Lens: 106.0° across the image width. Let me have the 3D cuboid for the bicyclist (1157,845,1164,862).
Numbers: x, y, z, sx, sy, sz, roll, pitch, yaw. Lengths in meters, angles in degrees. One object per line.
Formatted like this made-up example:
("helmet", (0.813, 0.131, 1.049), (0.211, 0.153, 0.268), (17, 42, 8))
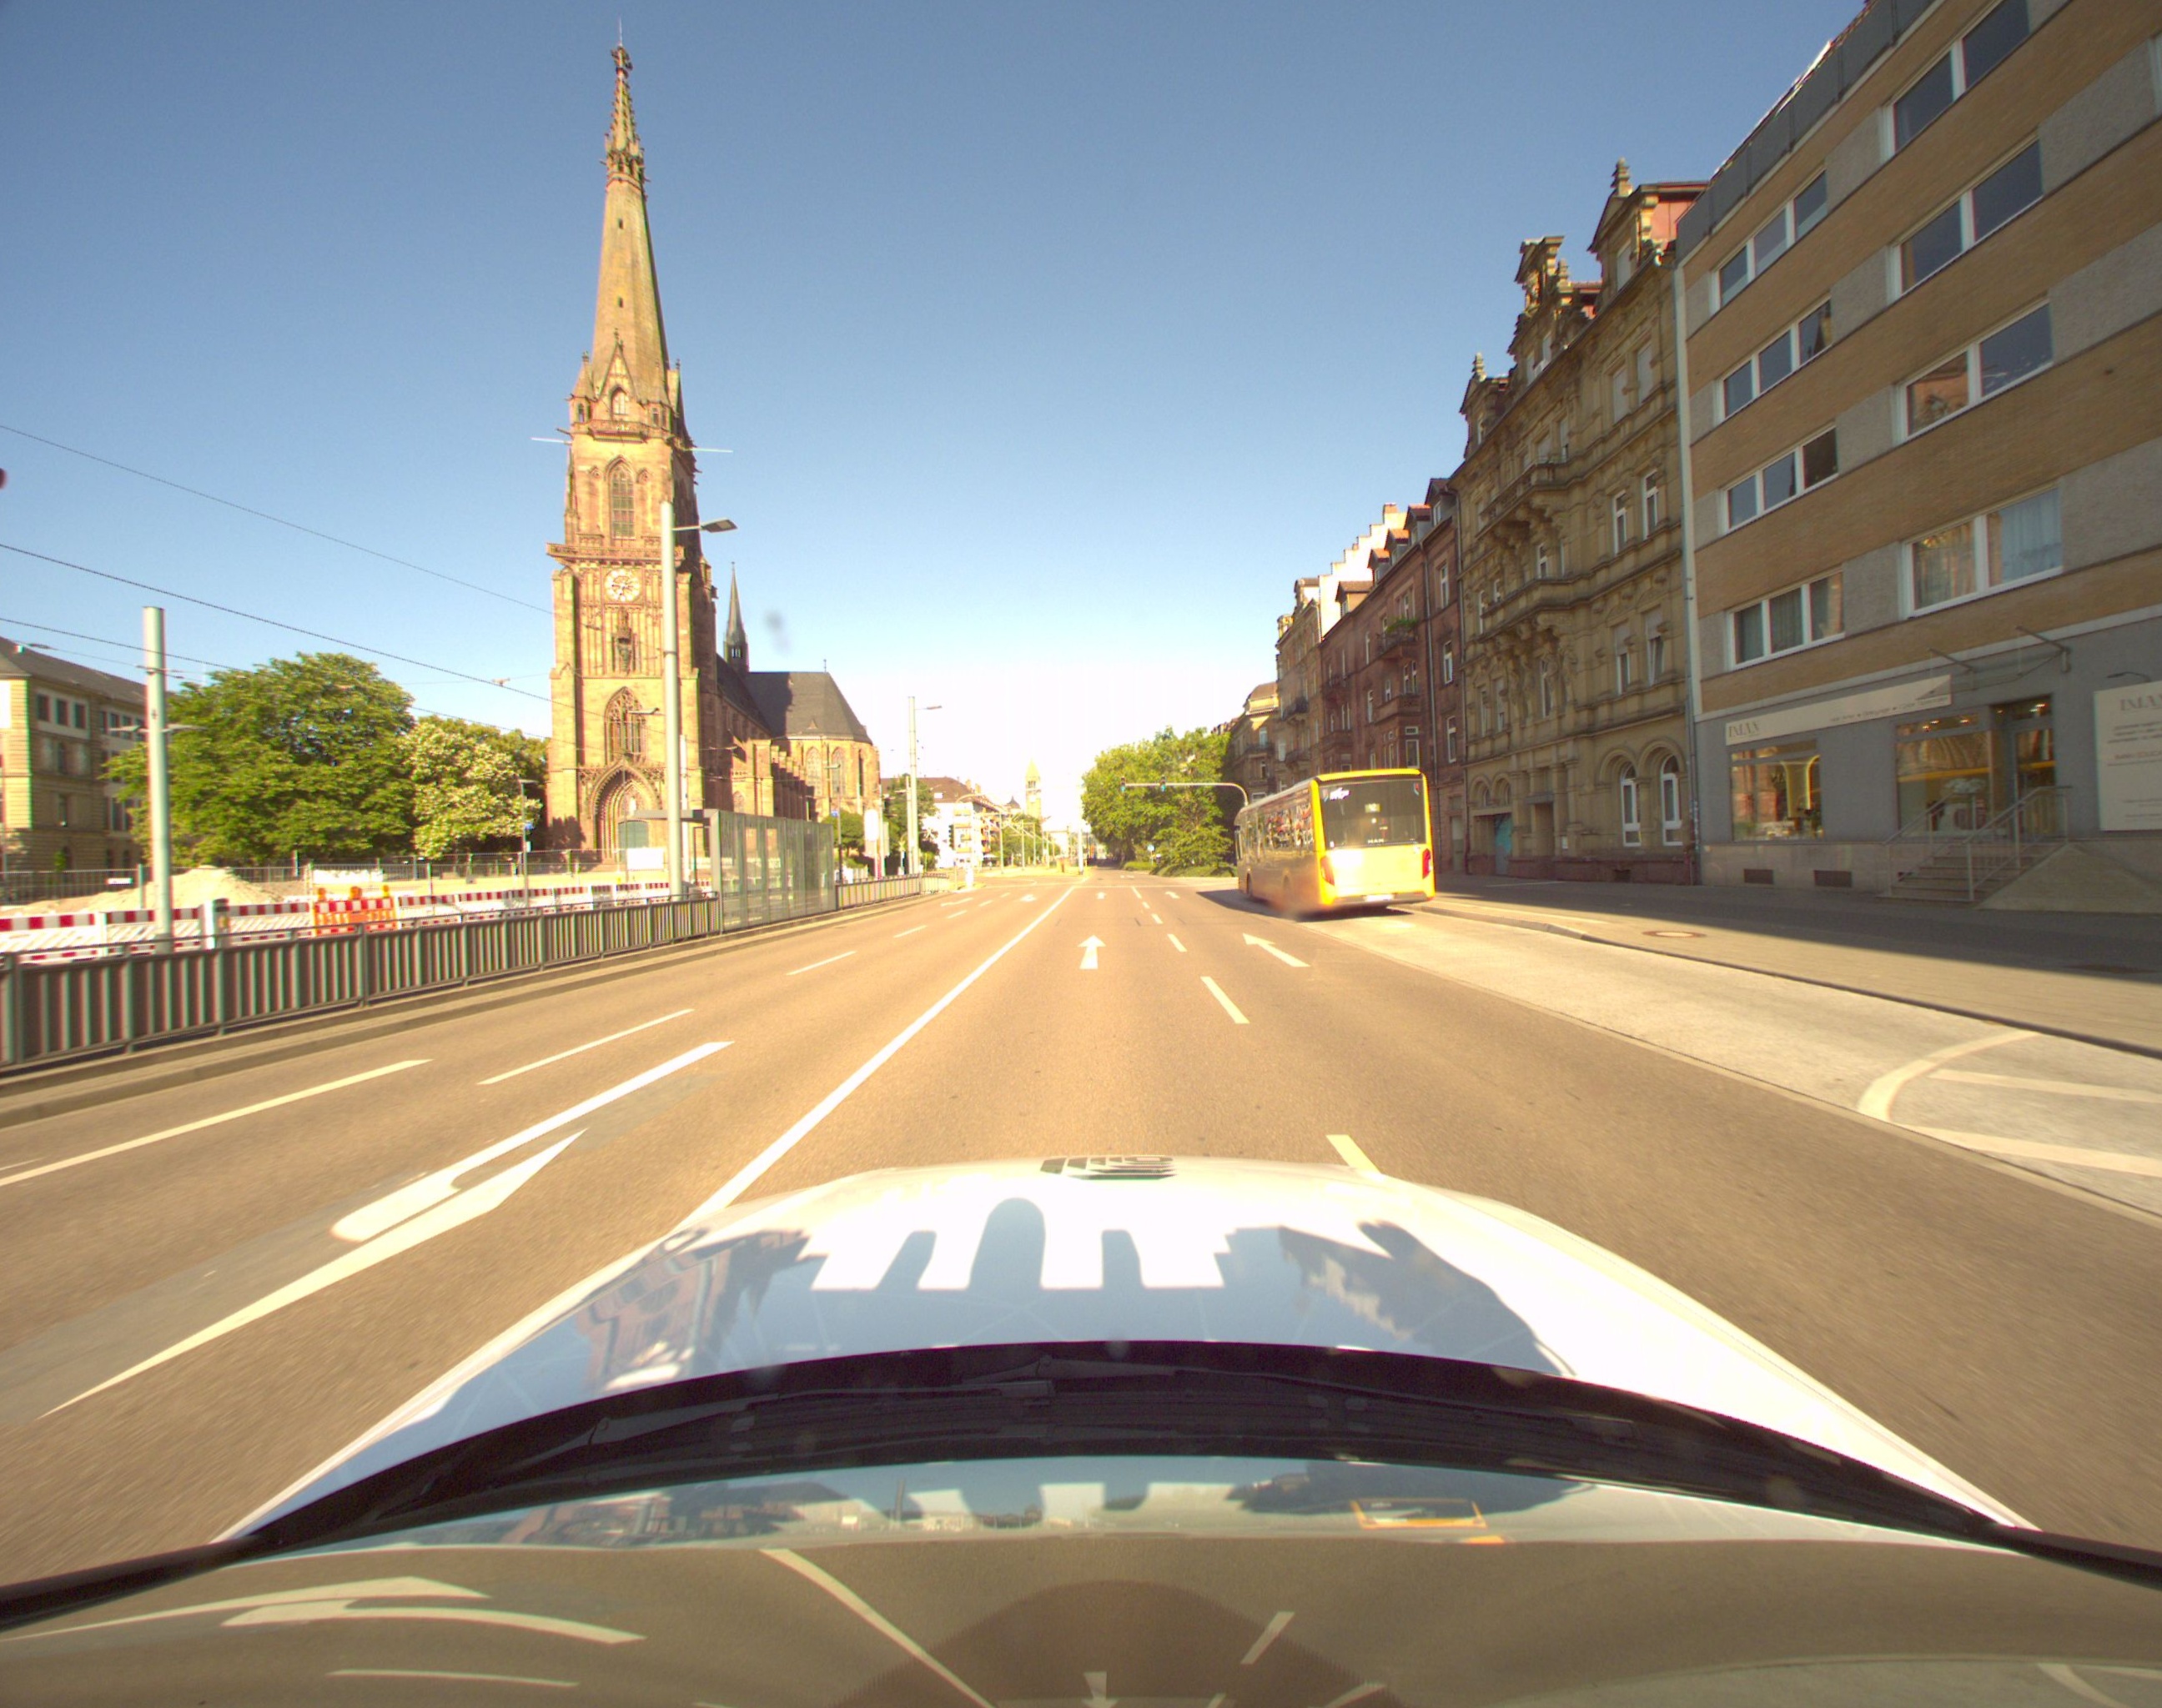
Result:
("bicyclist", (9.051, -0.070, 92.716), (0.639, 1.815, 1.052), (-3, -1, 1))

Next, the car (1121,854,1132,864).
("car", (7.202, 0.778, 129.596), (1.637, 1.511, 4.185), (-3, 0, 2))

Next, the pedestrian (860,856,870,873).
("pedestrian", (-23.626, 1.173, 89.179), (0.726, 1.773, 0.863), (-3, 2, -2))

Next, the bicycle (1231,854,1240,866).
("bicycle", (15.378, 0.601, 80.965), (0.516, 1.047, 1.821), (-3, 3, 1))

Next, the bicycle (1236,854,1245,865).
("bicycle", (16.028, 0.532, 81.644), (0.516, 1.047, 1.821), (-3, 3, 1))

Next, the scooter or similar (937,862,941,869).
("scooter or similar", (-25.874, 2.083, 148.415), (0.400, 1.261, 1.231), (-3, 2, 2))

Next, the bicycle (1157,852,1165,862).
("bicycle", (9.109, 0.340, 92.705), (0.639, 1.048, 2.360), (-3, -1, 1))

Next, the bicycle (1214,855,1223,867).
("bicycle", (13.661, 0.682, 80.958), (0.516, 1.047, 1.821), (-3, 3, 1))

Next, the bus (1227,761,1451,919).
("bus", (6.596, -0.303, 23.520), (2.705, 3.181, 12.546), (-3, 0, 2))
